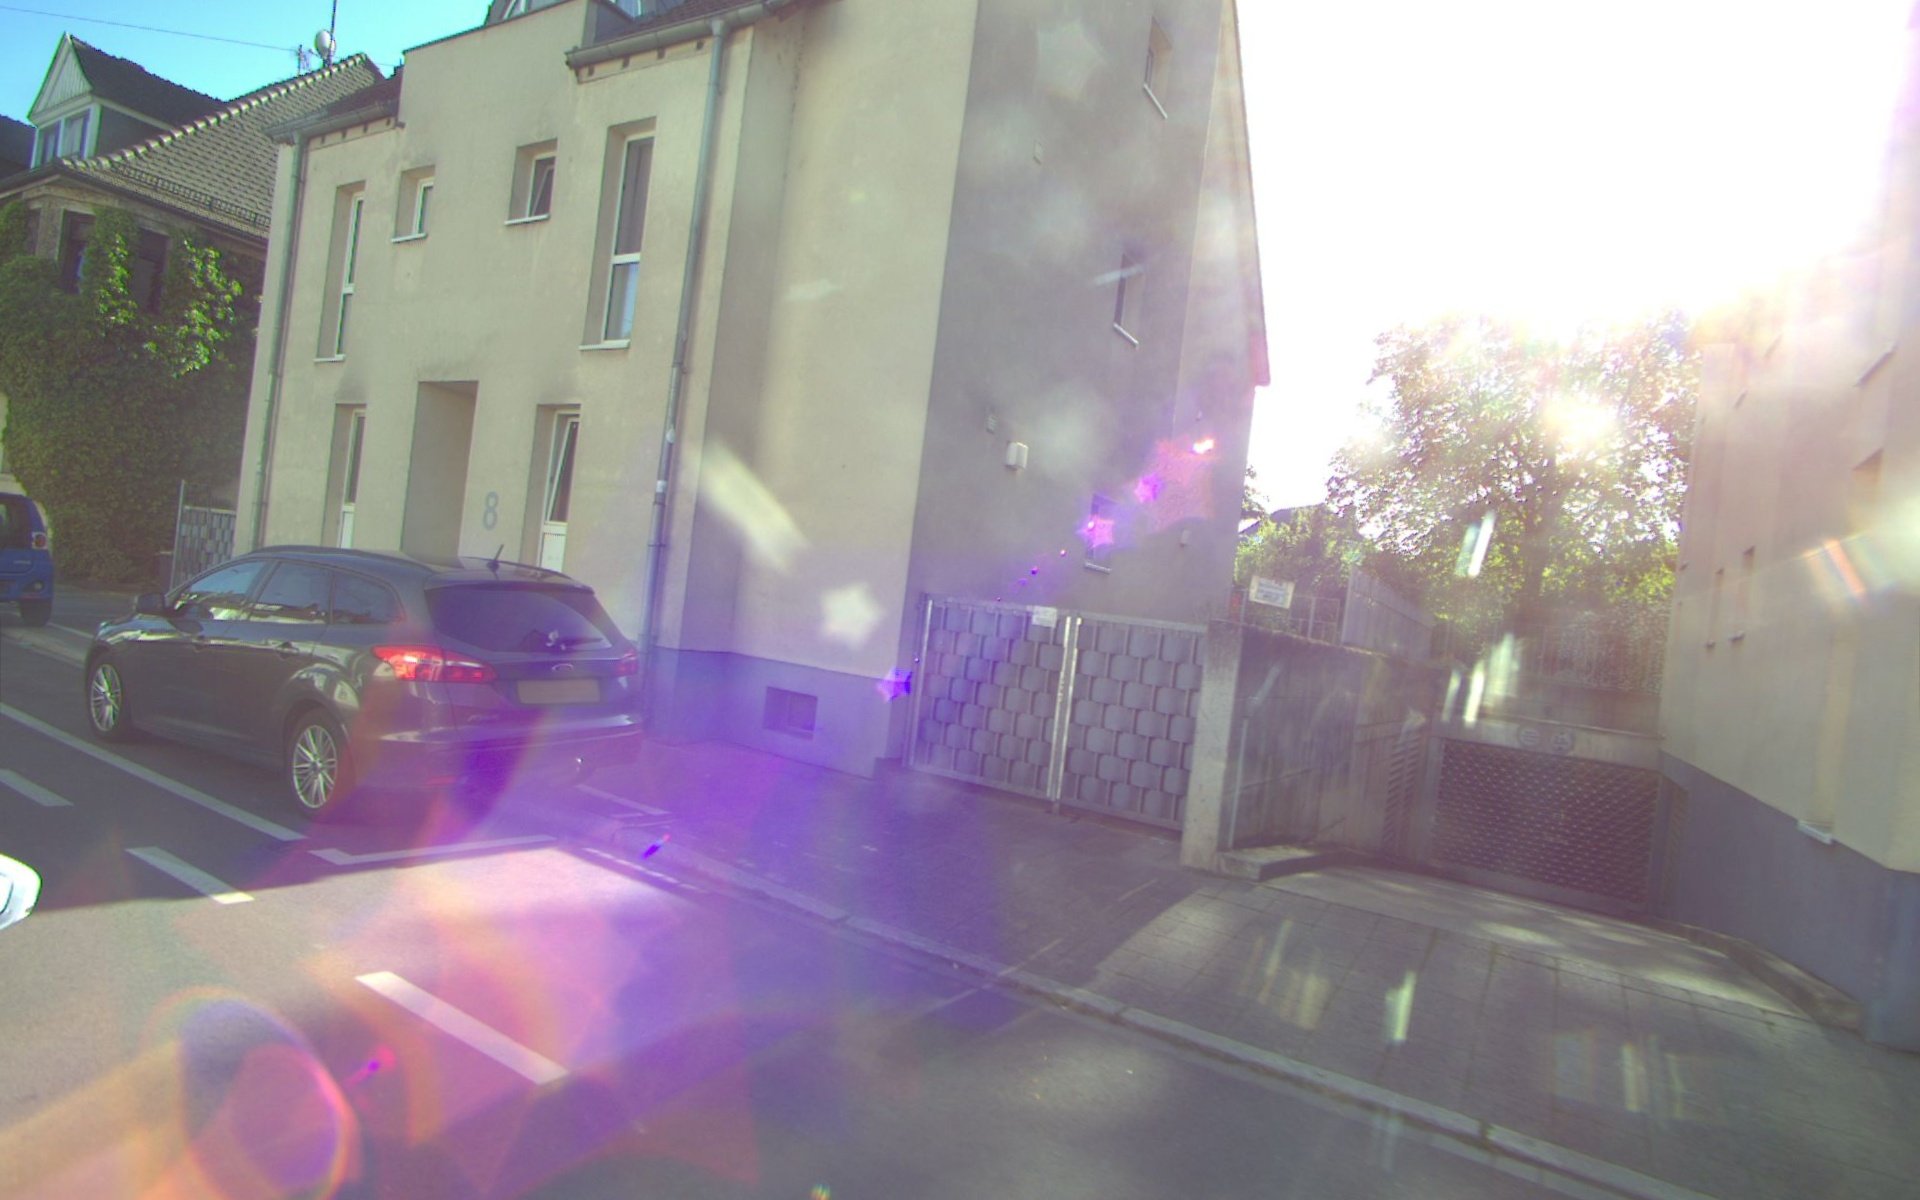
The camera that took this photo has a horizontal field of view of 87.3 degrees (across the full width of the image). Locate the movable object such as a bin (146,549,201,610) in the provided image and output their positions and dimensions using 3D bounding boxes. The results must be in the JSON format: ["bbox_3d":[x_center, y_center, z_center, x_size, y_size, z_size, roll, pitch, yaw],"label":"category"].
[{"bbox_3d":[-13.098,-0.332,16.758,0.506,0.927,0.494,7,0,29],"label":"movable object such as a bin"}]

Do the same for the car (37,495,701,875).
[{"bbox_3d":[-4.050,0.391,6.722,4.358,1.617,1.749,7,-2,30],"label":"car"}]

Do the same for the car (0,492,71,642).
[{"bbox_3d":[-12.134,-0.570,11.793,3.238,1.617,1.461,7,-2,30],"label":"car"}]
